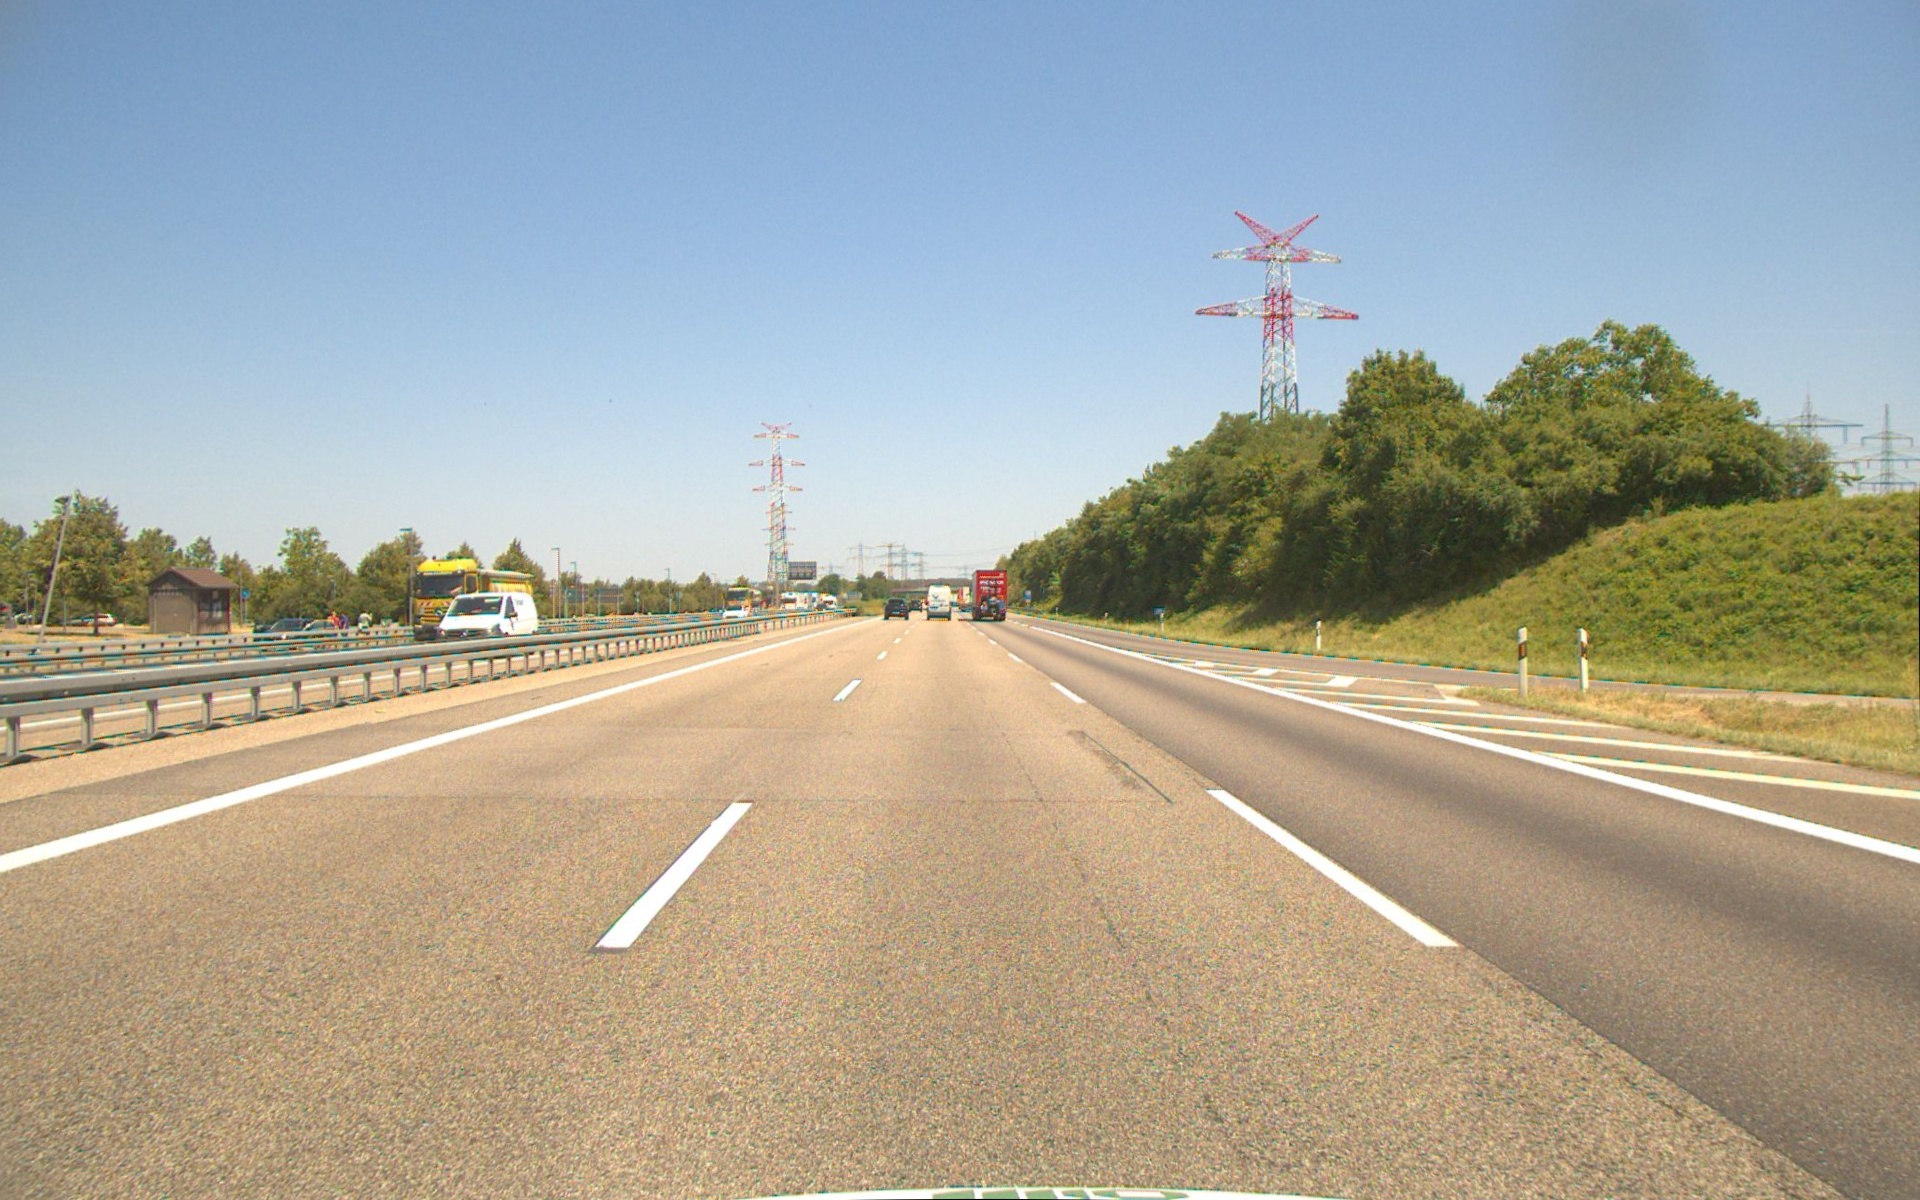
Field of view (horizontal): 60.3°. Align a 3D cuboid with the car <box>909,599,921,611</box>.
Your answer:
[{"bbox_3d":[-6.420,0.737,235.990,1.712,1.662,4.002,1,0,-1],"label":"car"}]

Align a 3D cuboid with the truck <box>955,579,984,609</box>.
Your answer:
[{"bbox_3d":[1.476,-0.919,261.983,4.243,4.603,16.075,1,0,-1],"label":"truck"}]

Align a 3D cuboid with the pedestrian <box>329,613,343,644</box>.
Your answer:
[{"bbox_3d":[-29.475,1.323,78.128,0.494,1.447,0.494,1,0,-34],"label":"pedestrian"}]

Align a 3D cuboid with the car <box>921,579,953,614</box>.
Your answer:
[{"bbox_3d":[-1.914,-0.326,137.417,2.568,2.807,6.095,1,0,-1],"label":"car"}]

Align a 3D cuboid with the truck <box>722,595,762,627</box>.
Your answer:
[{"bbox_3d":[-23.216,1.146,176.762,2.662,3.316,12.386,0,0,-1],"label":"truck"}]

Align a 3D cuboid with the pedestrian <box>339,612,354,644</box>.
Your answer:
[{"bbox_3d":[-29.229,1.324,78.770,0.488,1.529,0.500,1,0,8],"label":"pedestrian"}]

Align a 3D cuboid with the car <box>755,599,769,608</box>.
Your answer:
[{"bbox_3d":[-30.434,0.495,254.824,1.779,1.415,3.902,-1,0,-2],"label":"car"}]

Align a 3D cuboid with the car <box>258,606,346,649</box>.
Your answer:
[{"bbox_3d":[-30.678,1.266,77.312,2.011,1.875,5.471,-1,0,-2],"label":"car"}]

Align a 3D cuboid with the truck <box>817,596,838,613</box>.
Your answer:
[{"bbox_3d":[-20.480,0.673,255.831,2.662,2.464,8.105,-1,0,-1],"label":"truck"}]

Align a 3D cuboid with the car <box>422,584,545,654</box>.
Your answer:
[{"bbox_3d":[-13.789,0.514,48.263,2.011,1.875,5.941,-1,0,-2],"label":"car"}]

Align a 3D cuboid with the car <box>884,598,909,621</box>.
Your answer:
[{"bbox_3d":[-5.080,0.790,133.288,1.953,1.780,3.999,1,0,-2],"label":"car"}]

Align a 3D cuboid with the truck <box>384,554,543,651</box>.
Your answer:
[{"bbox_3d":[-21.749,0.093,73.569,3.107,3.877,13.528,-1,0,-1],"label":"truck"}]

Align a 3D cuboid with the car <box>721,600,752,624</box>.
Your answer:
[{"bbox_3d":[-18.723,0.985,138.766,2.011,1.875,5.471,-1,0,-2],"label":"car"}]

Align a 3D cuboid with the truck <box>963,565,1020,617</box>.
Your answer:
[{"bbox_3d":[2.537,-0.770,139.353,4.243,4.010,16.075,1,0,-1],"label":"truck"}]
